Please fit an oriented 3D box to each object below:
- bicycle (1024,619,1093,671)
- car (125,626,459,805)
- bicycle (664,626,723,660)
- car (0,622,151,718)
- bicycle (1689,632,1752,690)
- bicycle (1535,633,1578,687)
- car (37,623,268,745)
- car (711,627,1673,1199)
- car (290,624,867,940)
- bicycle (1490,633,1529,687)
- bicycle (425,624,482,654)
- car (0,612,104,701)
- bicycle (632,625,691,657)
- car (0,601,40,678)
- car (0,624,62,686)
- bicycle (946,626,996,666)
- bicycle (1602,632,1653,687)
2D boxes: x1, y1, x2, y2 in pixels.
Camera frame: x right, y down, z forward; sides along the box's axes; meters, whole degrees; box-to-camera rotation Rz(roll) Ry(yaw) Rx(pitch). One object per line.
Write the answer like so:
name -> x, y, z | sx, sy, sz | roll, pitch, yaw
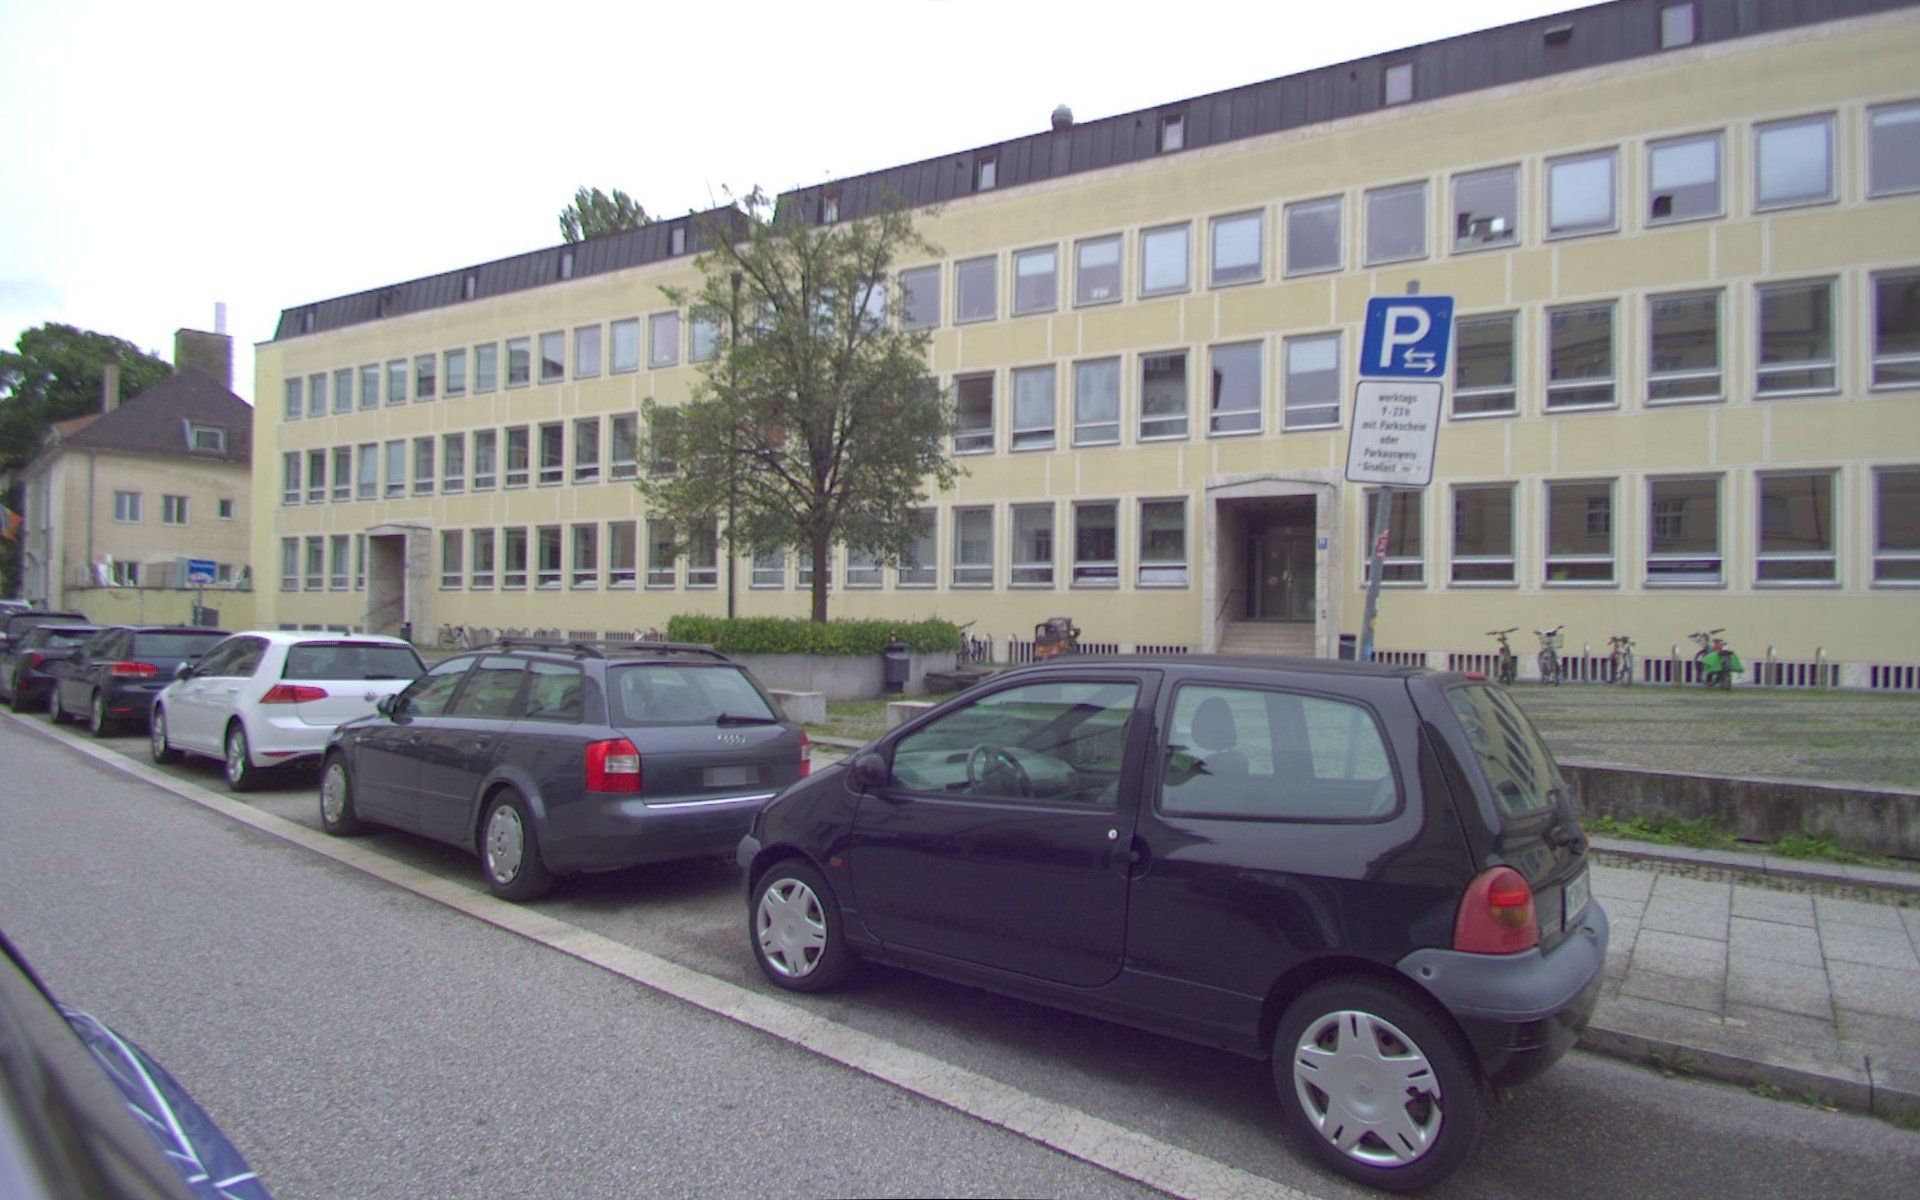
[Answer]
bicycle -> 2.546, 1.118, 25.813 | 1.050, 1.258, 2.422 | -1, -1, 24
car -> -6.963, 1.041, 10.400 | 4.068, 1.465, 1.640 | -1, -3, 39
bicycle -> -8.453, 1.350, 32.144 | 0.623, 1.022, 1.932 | -1, -1, 31
car -> -15.501, 1.146, 17.478 | 3.867, 1.465, 1.663 | -1, -4, 41
bicycle -> 14.491, 1.139, 19.320 | 0.622, 1.022, 1.935 | -1, -1, 27
bicycle -> 12.068, 1.190, 20.495 | 0.622, 1.022, 1.935 | -1, -1, 27
car -> -11.395, 1.088, 14.199 | 3.969, 1.465, 1.640 | -1, -3, 39
car -> 0.738, 0.875, 3.991 | 3.308, 1.465, 1.640 | -1, -3, 39
car -> -2.799, 0.932, 6.872 | 4.393, 1.465, 1.737 | -1, -3, 41
bicycle -> 11.281, 1.198, 20.759 | 0.623, 1.022, 1.932 | -1, -1, 31
bicycle -> -18.567, 1.409, 37.135 | 0.577, 1.022, 1.937 | -1, 0, 24
car -> -19.431, 1.134, 21.030 | 4.446, 1.679, 1.725 | -1, -5, 41
bicycle -> -9.683, 1.318, 32.878 | 0.623, 1.022, 1.932 | -1, -1, 31
car -> -27.011, 1.043, 27.712 | 5.017, 1.994, 1.909 | -1, -3, 39
car -> -23.356, 1.291, 24.682 | 3.917, 1.398, 1.725 | -1, -1, 42
bicycle -> 0.316, 1.224, 27.187 | 0.622, 1.022, 1.937 | -1, -1, 24
bicycle -> 13.300, 1.165, 20.205 | 0.622, 1.022, 1.935 | -1, -1, 27
